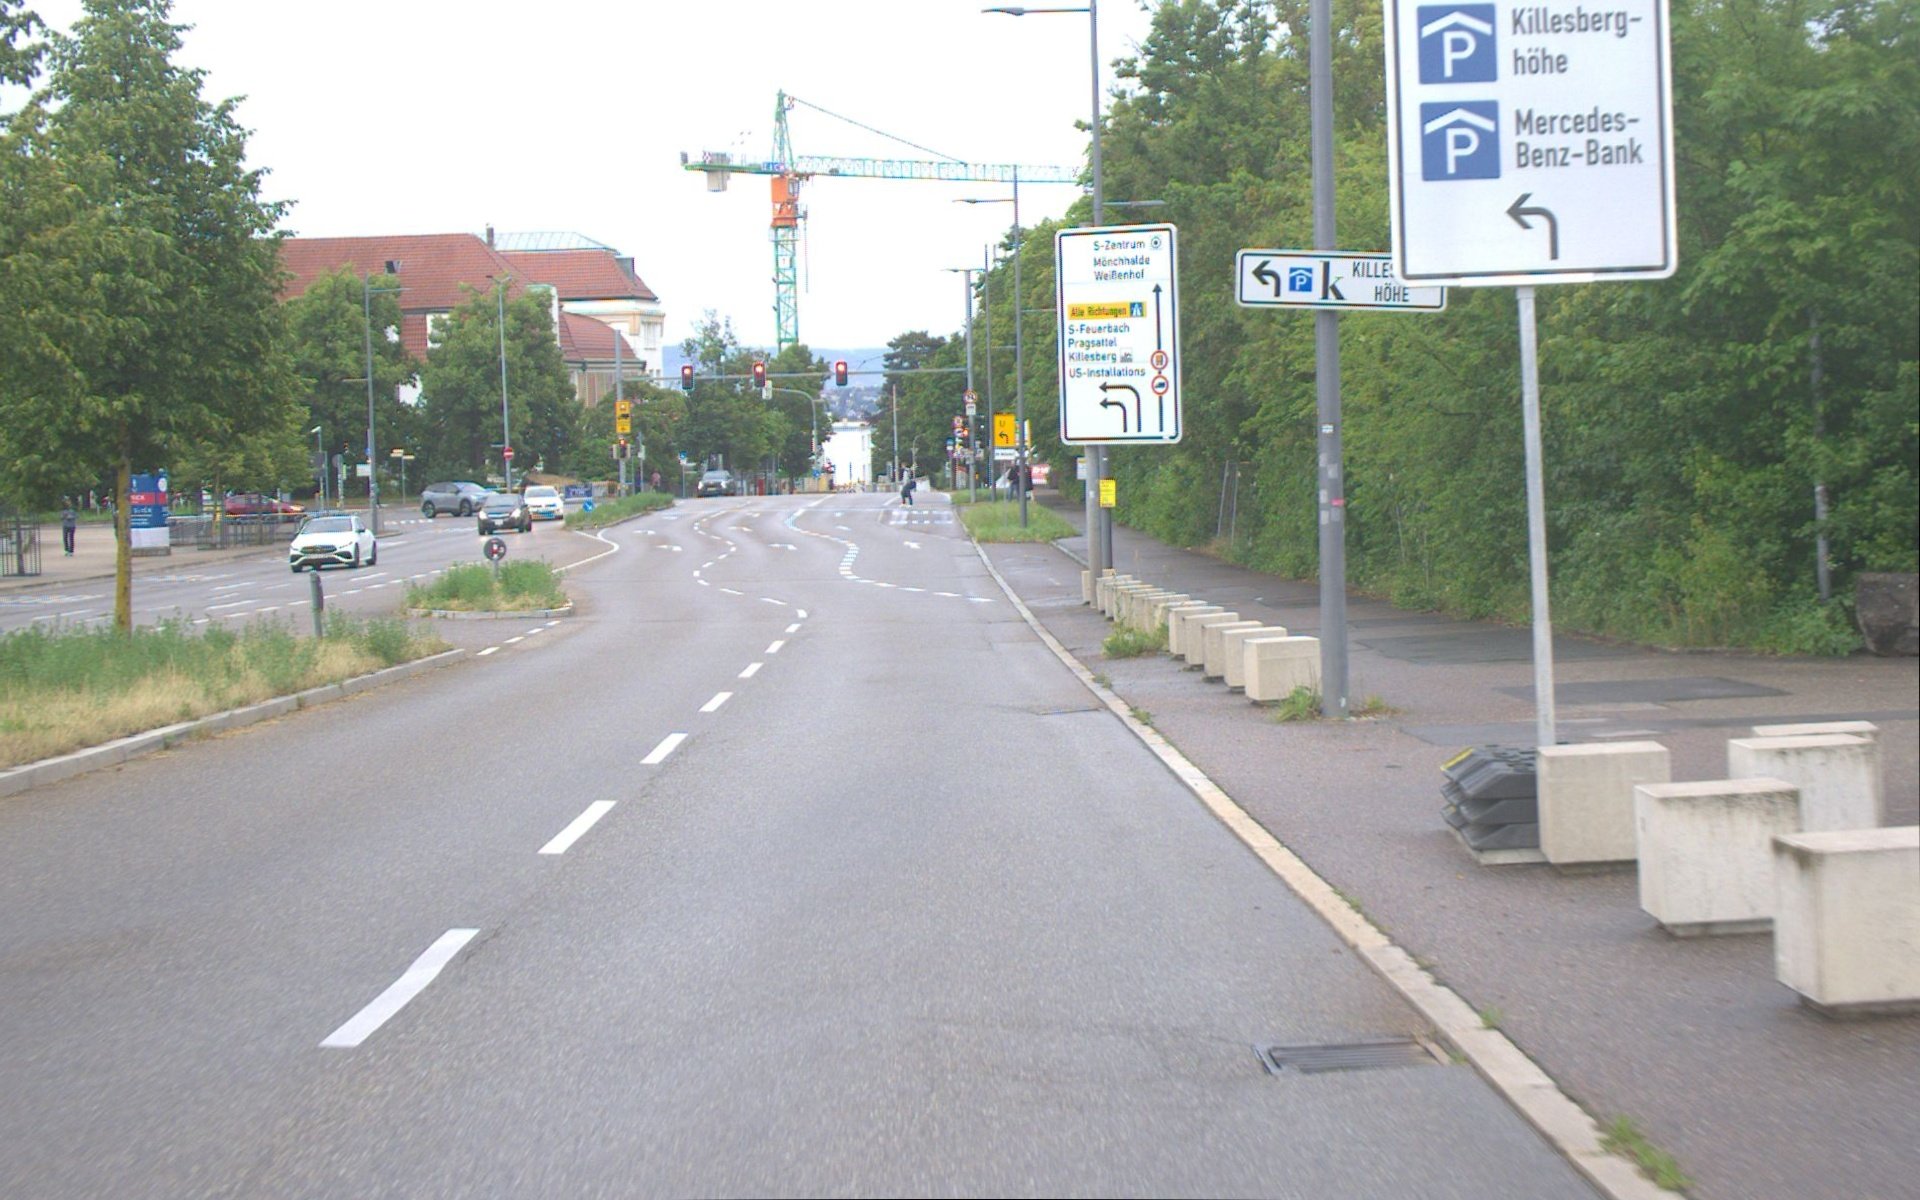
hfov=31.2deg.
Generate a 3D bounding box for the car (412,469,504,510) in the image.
[{"bbox_3d":[-23.407,-5.151,160.139,3.995,1.872,1.996,1,2,36],"label":"car"}]

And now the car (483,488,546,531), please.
[{"bbox_3d":[-16.659,-3.407,128.709,1.846,1.457,3.868,-3,2,-1],"label":"car"}]

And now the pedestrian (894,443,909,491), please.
[{"bbox_3d":[-2.483,-5.639,145.540,0.401,2.006,0.513,-4,3,5],"label":"pedestrian"}]

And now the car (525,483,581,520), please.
[{"bbox_3d":[-17.547,-4.266,148.492,1.873,1.425,4.176,-4,2,-1],"label":"car"}]

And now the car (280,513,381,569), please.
[{"bbox_3d":[-17.383,-1.656,95.073,1.993,1.413,4.514,-1,2,-1],"label":"car"}]

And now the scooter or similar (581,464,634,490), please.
[{"bbox_3d":[-21.088,-7.366,205.758,3.087,1.435,0.949,-2,3,-2],"label":"scooter or similar"}]
